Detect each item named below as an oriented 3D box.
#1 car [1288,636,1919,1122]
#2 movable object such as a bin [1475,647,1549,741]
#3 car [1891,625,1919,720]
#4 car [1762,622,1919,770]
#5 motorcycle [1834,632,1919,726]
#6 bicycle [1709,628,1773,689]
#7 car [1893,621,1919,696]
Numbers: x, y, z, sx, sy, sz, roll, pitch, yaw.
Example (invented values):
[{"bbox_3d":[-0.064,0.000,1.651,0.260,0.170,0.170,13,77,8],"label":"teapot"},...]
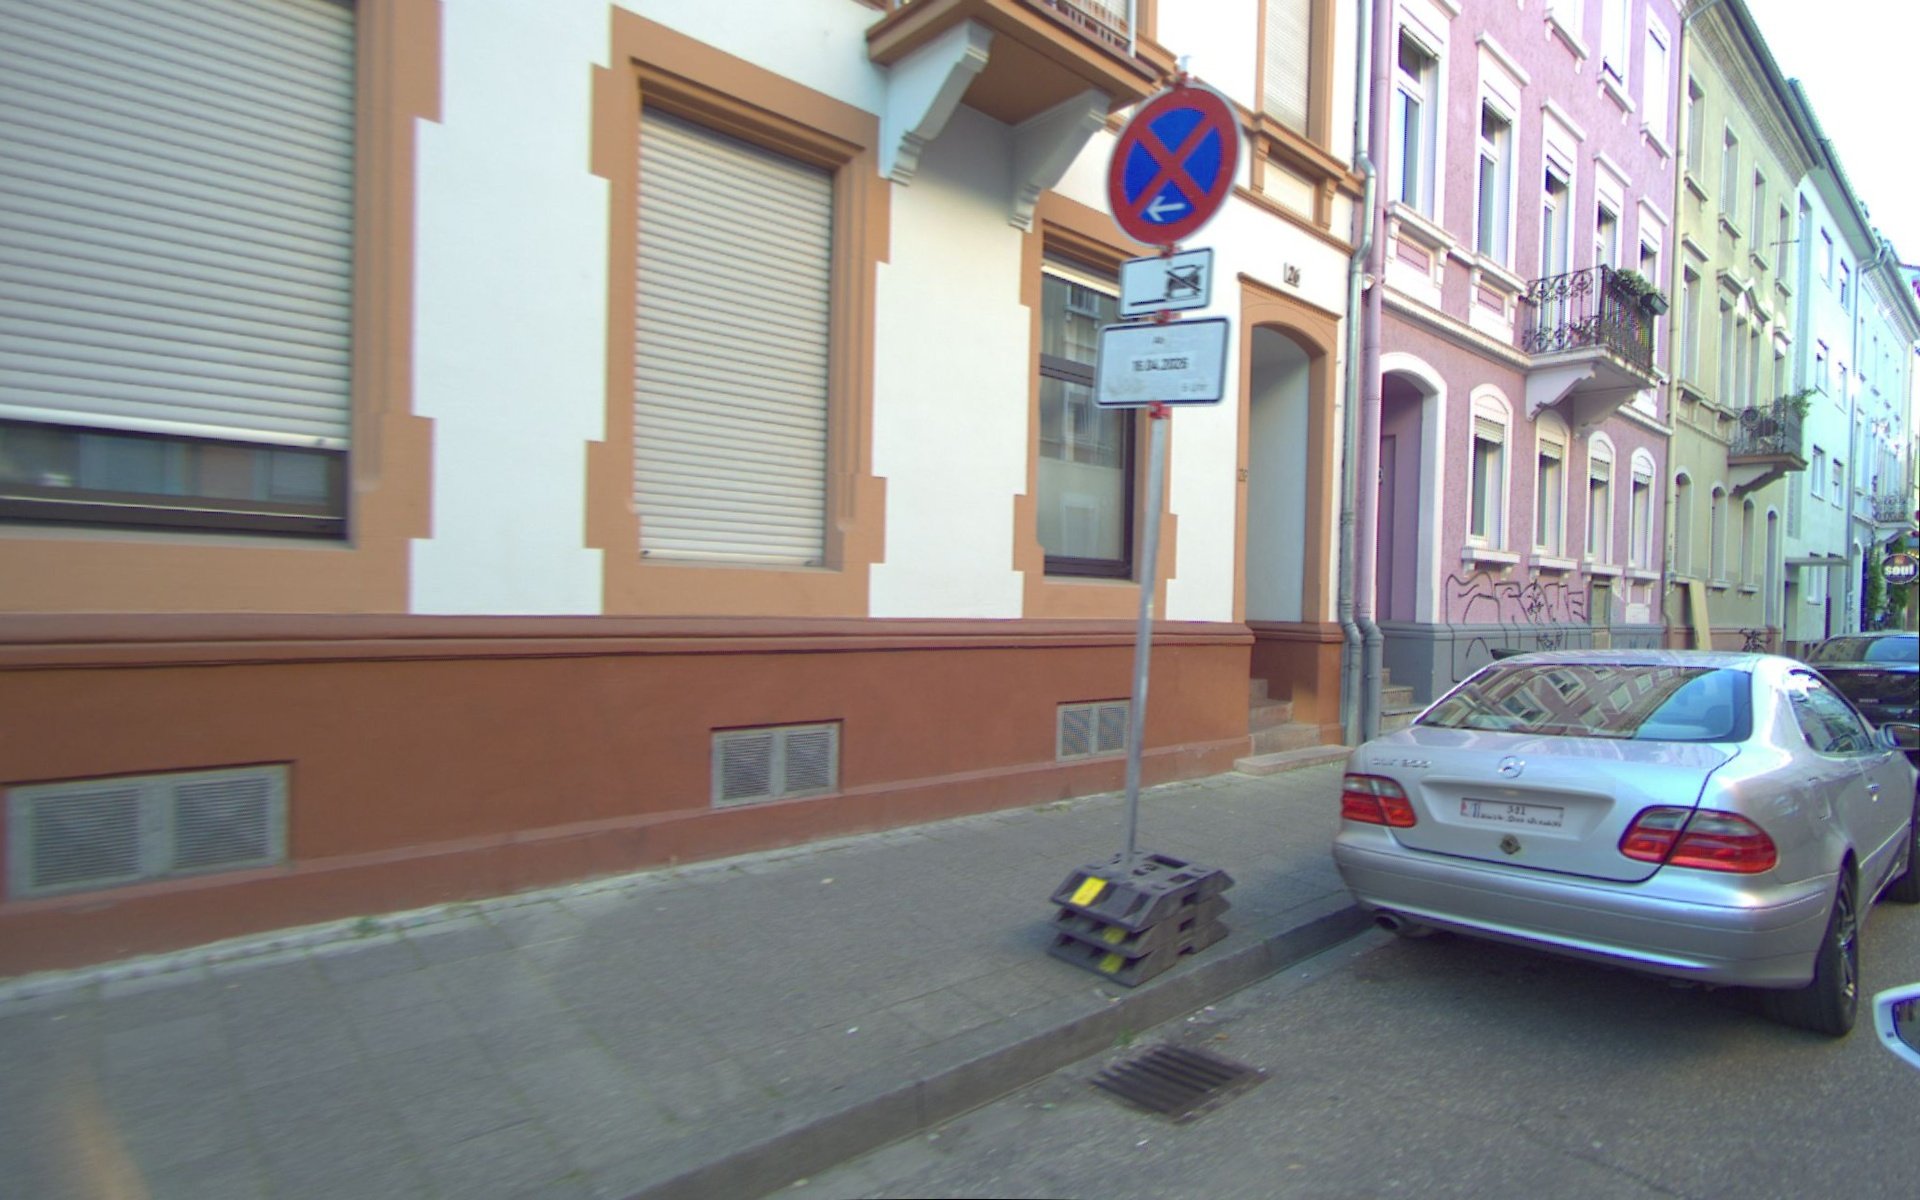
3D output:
[{"bbox_3d":[3.593,0.888,5.079,4.472,1.401,1.695,2,-2,-42],"label":"car"},{"bbox_3d":[6.069,1.018,11.045,0.483,0.957,0.539,1,1,-40],"label":"movable object such as a bin"},{"bbox_3d":[16.563,1.143,16.385,4.134,1.460,1.657,2,-2,-42],"label":"car"},{"bbox_3d":[11.117,1.011,11.888,4.319,1.402,1.696,0,1,-40],"label":"car"},{"bbox_3d":[14.372,1.157,14.821,2.116,1.377,0.539,-2,-1,31],"label":"motorcycle"},{"bbox_3d":[15.257,1.127,19.609,2.063,1.103,0.587,2,1,-42],"label":"bicycle"},{"bbox_3d":[20.431,1.177,20.533,3.740,1.460,1.657,2,-2,-42],"label":"car"}]
